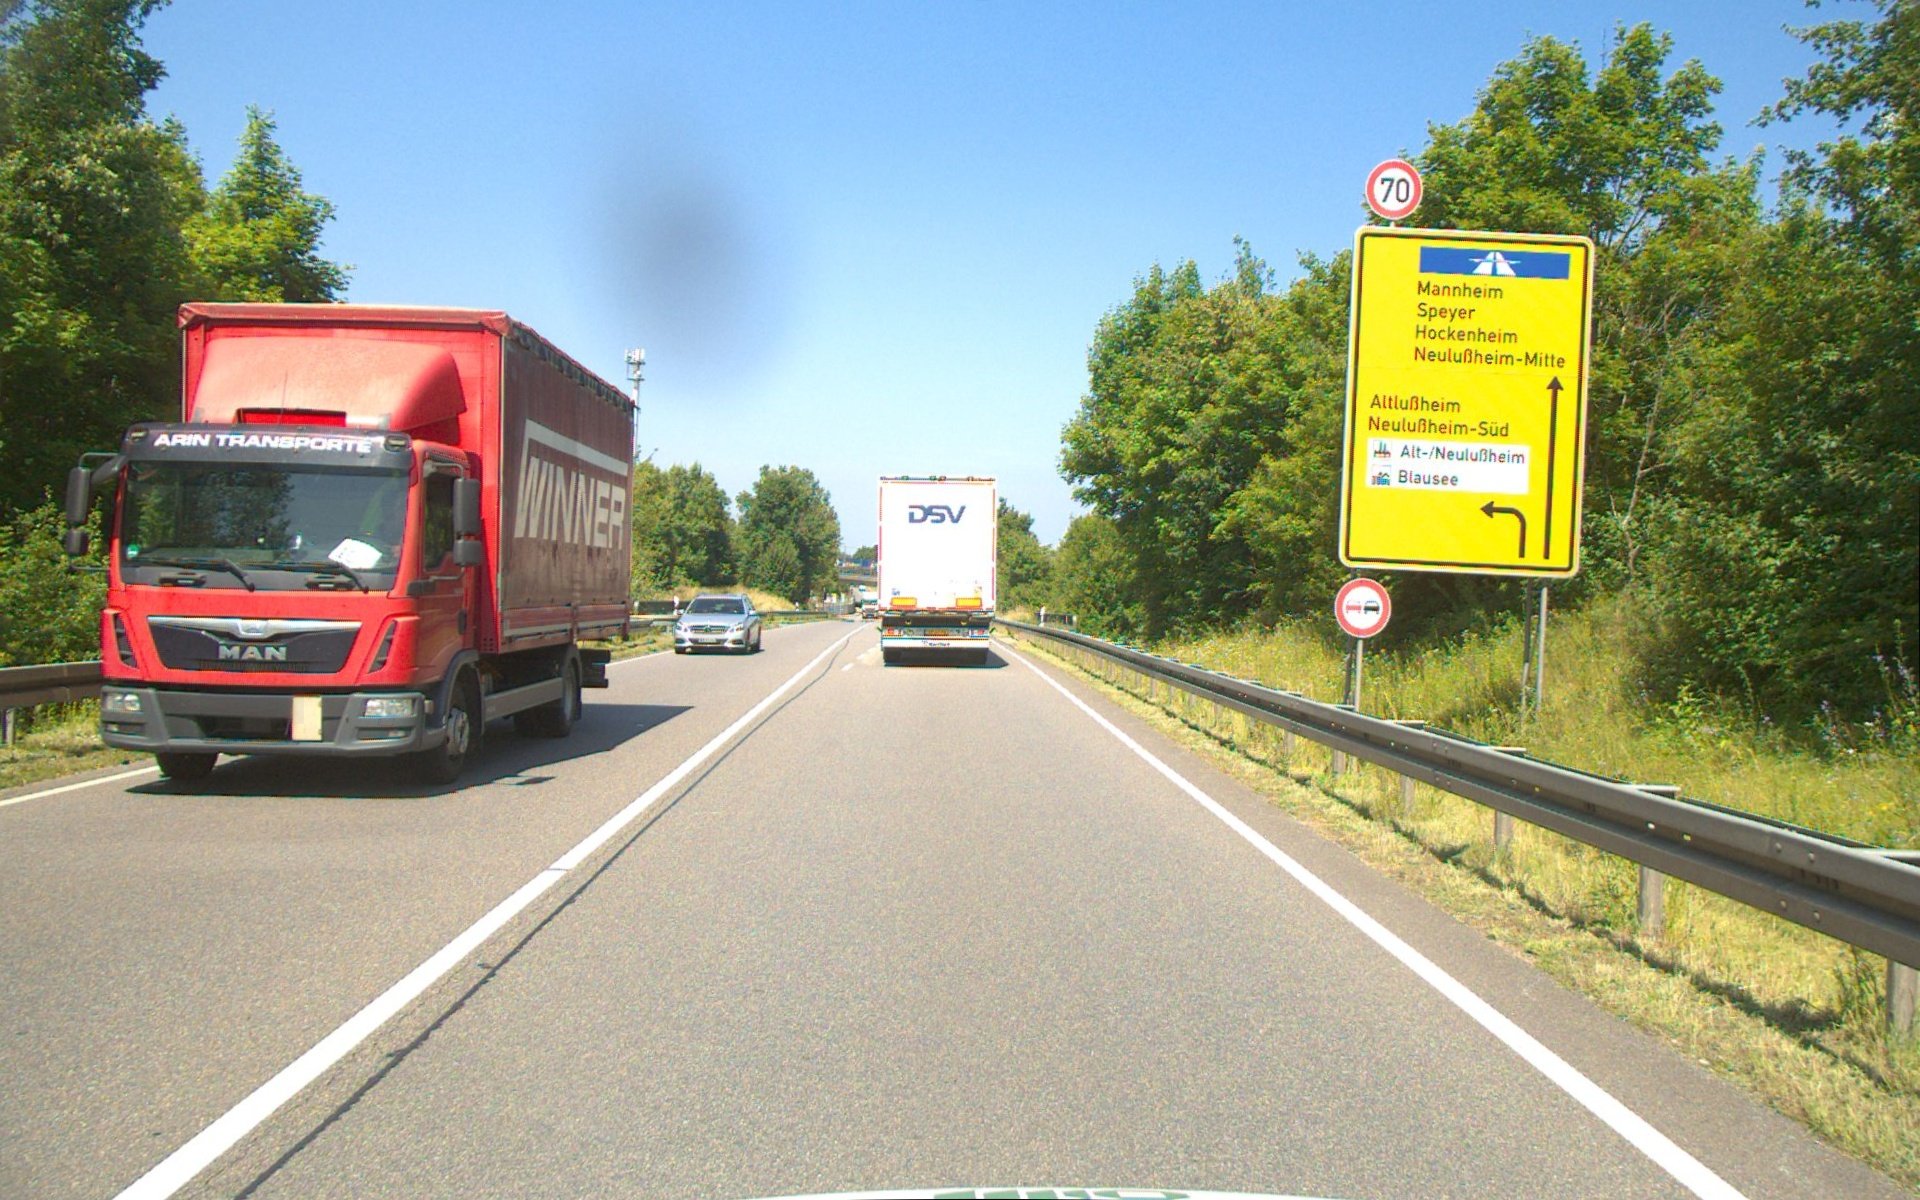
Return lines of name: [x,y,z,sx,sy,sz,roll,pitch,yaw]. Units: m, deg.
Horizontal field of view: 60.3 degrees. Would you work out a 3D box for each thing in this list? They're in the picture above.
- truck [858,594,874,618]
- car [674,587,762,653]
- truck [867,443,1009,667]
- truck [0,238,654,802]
truck: [-15.035,0.965,264.933,2.306,3.815,12.619,1,0,-2]
car: [-6.109,0.486,42.161,1.782,1.573,4.524,1,0,-3]
truck: [-0.536,-0.965,39.649,2.890,4.648,9.860,1,0,-1]
truck: [-5.230,-0.552,15.766,3.127,3.764,9.003,1,0,-2]
